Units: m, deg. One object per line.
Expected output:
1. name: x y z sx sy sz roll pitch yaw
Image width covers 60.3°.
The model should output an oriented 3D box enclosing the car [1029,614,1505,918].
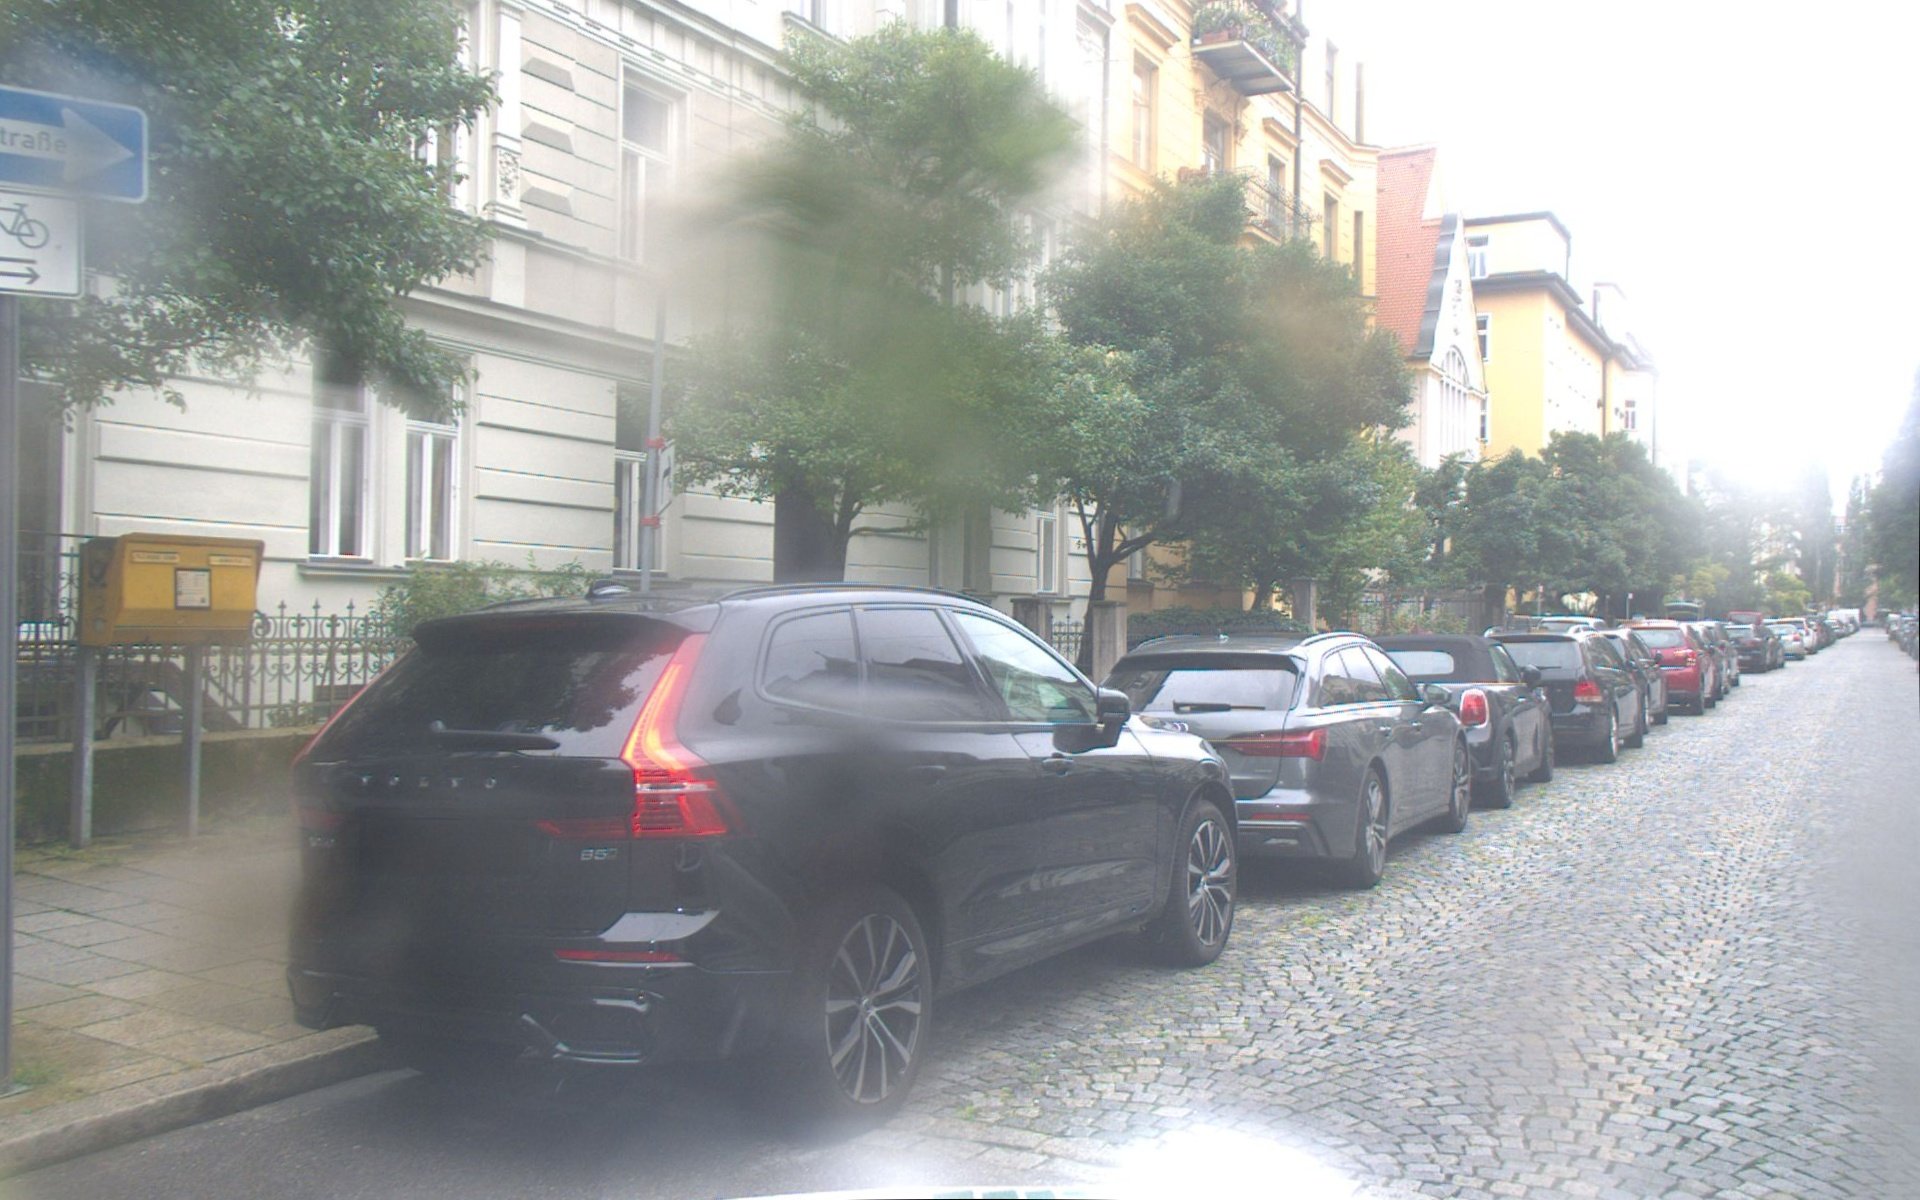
1. car: 2.345 0.901 11.169 1.769 1.531 5.172 -3 -1 26

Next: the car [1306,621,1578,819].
1. car: 4.552 1.010 15.264 1.670 1.543 3.722 -2 -1 28

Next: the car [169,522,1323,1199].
1. car: -0.256 0.749 6.574 1.901 1.681 5.045 -4 -3 29

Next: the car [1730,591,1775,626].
1. car: 41.305 0.478 86.177 1.885 1.664 3.733 -4 -3 28

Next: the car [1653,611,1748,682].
1. car: 17.314 1.060 38.611 1.630 1.561 3.477 -1 -1 31

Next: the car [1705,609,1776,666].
1. car: 23.948 1.120 50.691 1.884 1.664 3.735 0 -1 26

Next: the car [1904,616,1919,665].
1. car: 30.782 1.229 52.089 1.628 1.491 3.443 -4 -3 28

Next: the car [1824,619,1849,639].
1. car: 77.691 2.594 146.572 1.885 1.664 3.733 -4 -3 28

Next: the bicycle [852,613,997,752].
1. bicycle: -0.314 0.775 16.223 0.491 1.270 1.976 1 0 28

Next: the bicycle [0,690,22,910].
1. bicycle: -5.338 0.964 7.415 0.545 1.046 1.923 1 0 34

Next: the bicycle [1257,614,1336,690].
1. bicycle: 5.380 0.825 26.378 0.412 1.163 1.754 1 0 41

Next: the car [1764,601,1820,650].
1. car: 34.499 1.073 68.562 1.885 1.871 3.733 -4 -3 28

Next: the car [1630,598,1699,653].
1. car: 22.278 0.804 52.242 1.744 1.664 3.734 0 -1 28

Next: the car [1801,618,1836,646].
1. car: 55.674 2.086 107.240 1.885 1.664 3.733 -4 -3 28

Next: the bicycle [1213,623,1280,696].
1. bicycle: 4.319 0.874 24.872 0.410 1.045 1.761 1 0 29

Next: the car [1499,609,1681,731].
1. car: 9.299 1.000 24.237 1.885 1.573 3.993 -4 -3 29

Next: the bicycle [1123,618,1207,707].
1. bicycle: 2.770 0.816 22.214 0.364 1.121 1.828 1 0 33

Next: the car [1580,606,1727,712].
1. car: 12.175 1.007 28.906 1.885 1.664 3.799 -4 -3 29

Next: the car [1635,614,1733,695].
1. car: 14.386 1.067 32.815 1.405 1.485 2.644 -4 -3 31

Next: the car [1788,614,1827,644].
1. car: 49.953 1.718 97.449 1.885 1.664 3.733 -4 -3 28

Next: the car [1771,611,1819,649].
1. car: 40.447 1.456 80.076 1.885 1.664 3.733 -4 -3 28

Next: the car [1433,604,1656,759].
1. car: 6.920 0.910 19.305 1.694 1.567 4.329 -4 -3 29

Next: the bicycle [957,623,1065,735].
1. bicycle: 0.581 0.829 18.067 0.356 1.152 1.884 1 0 28
